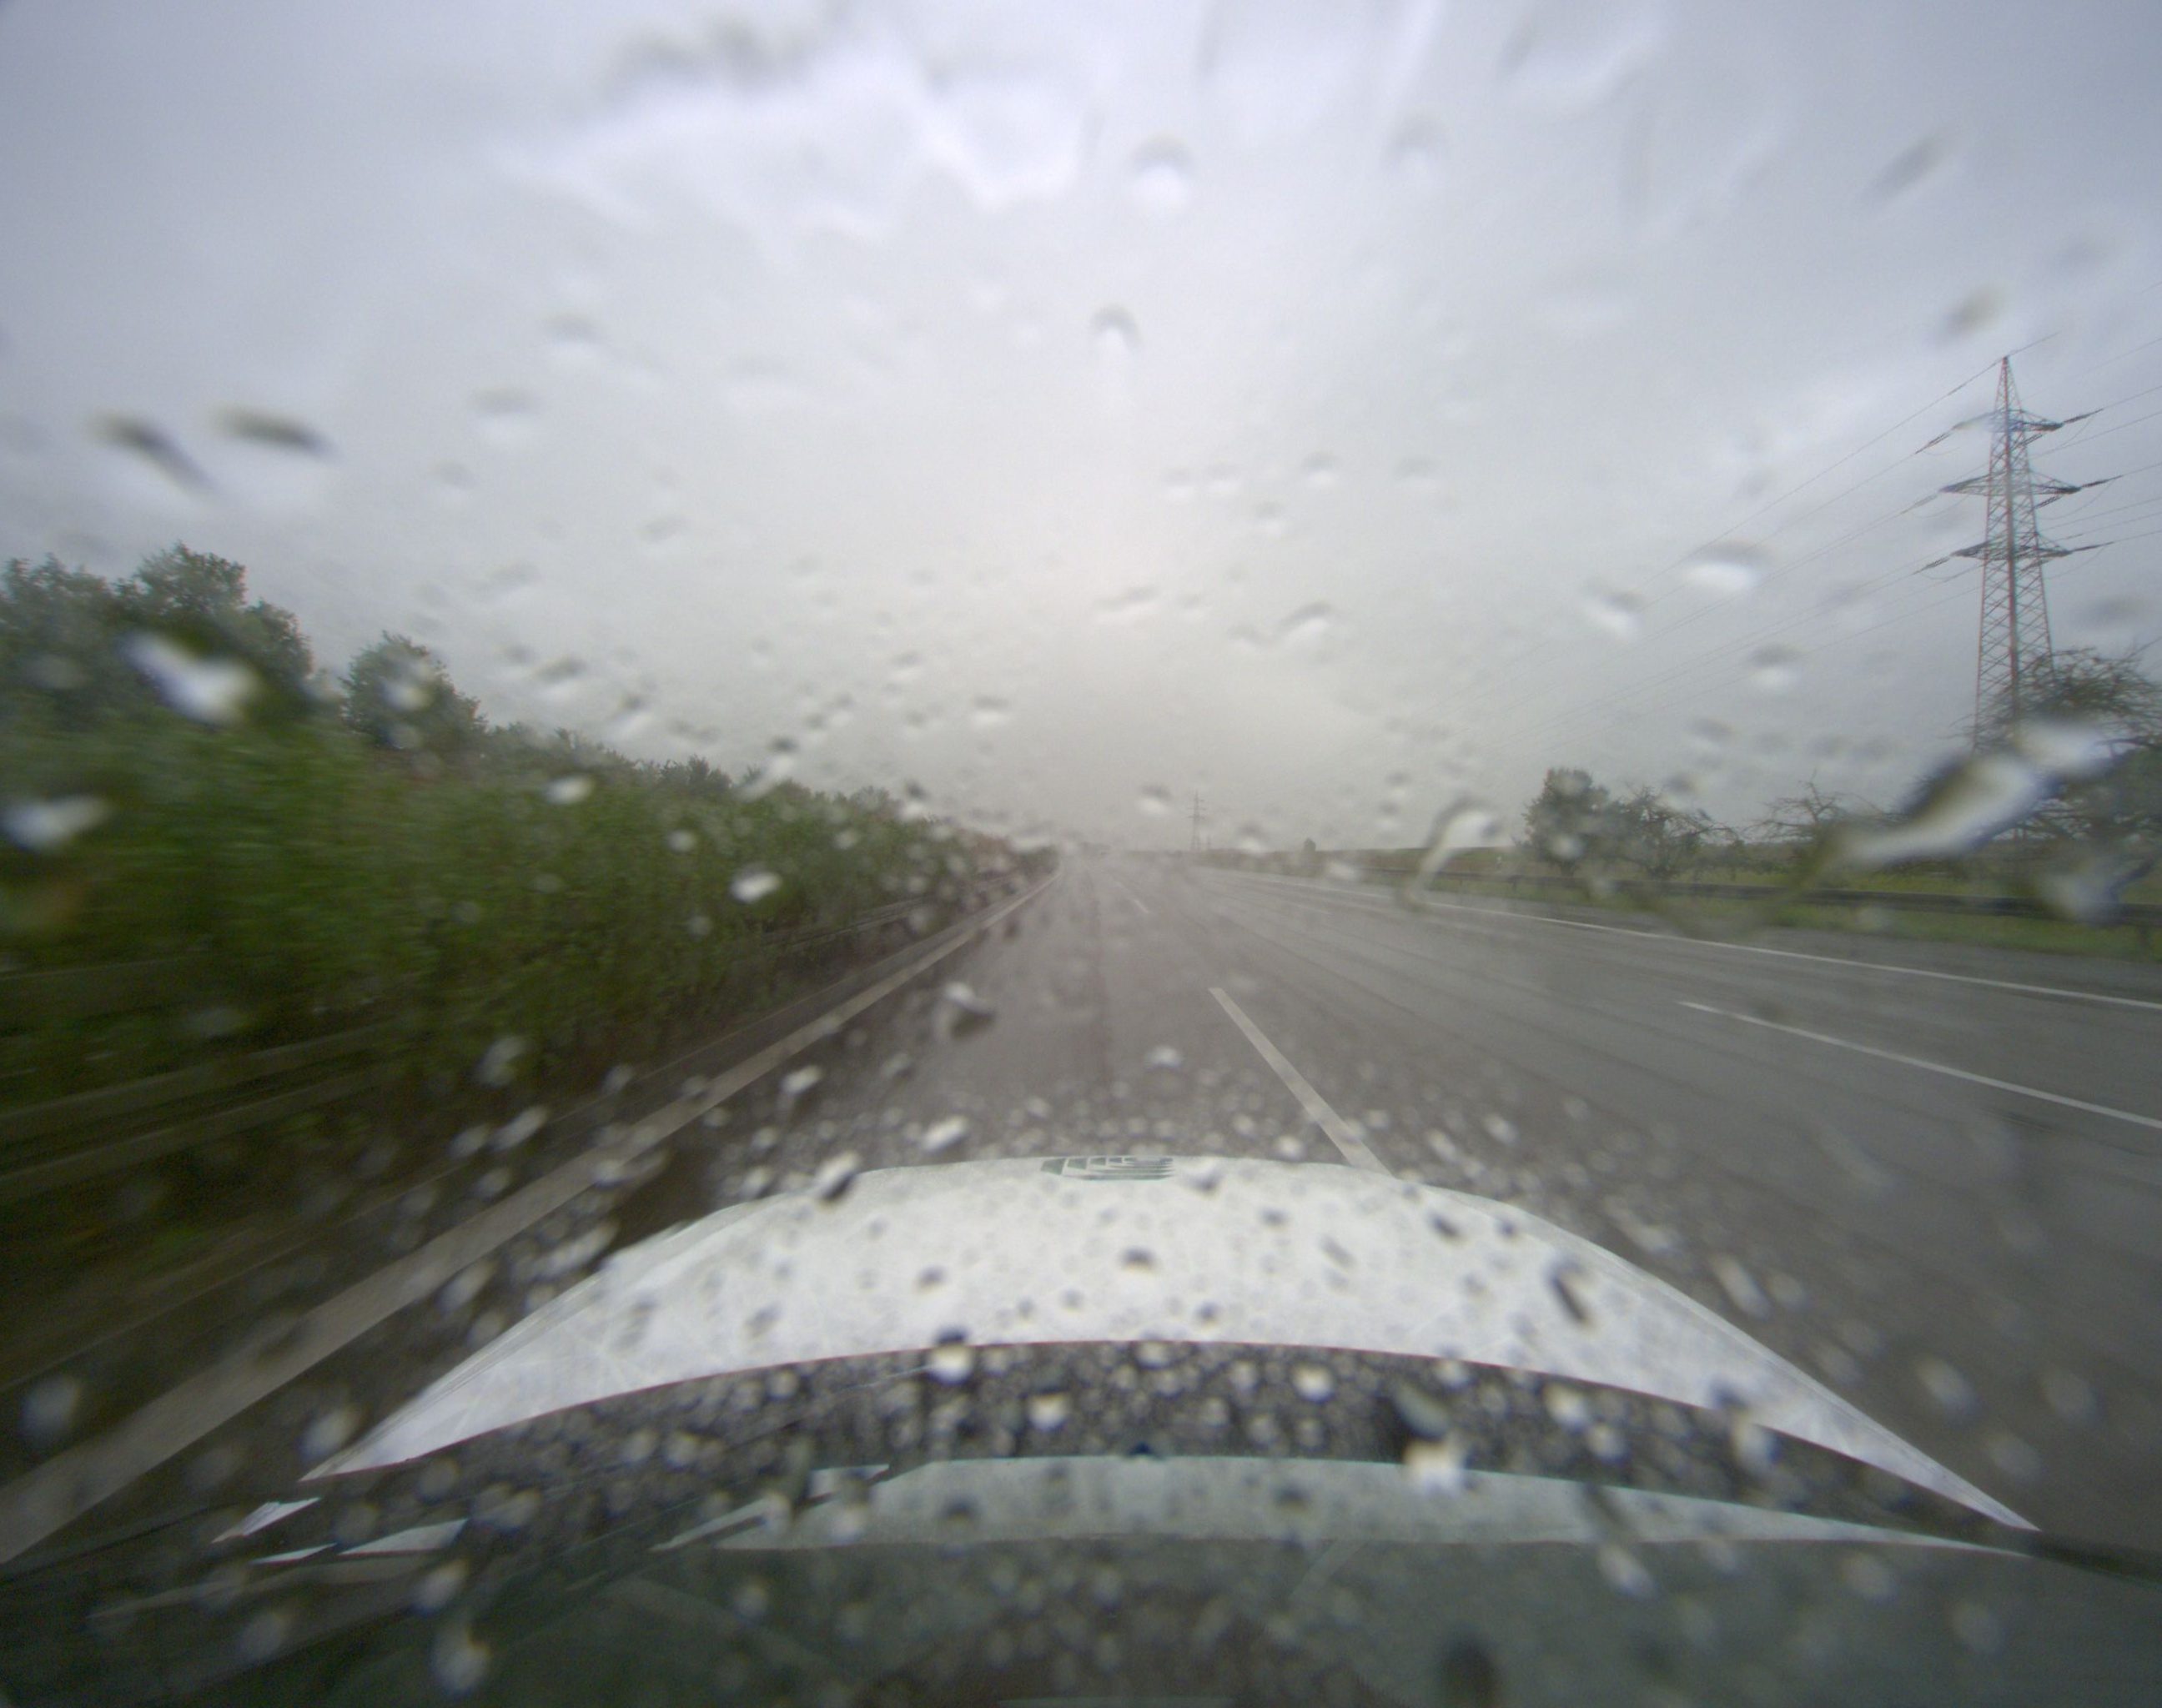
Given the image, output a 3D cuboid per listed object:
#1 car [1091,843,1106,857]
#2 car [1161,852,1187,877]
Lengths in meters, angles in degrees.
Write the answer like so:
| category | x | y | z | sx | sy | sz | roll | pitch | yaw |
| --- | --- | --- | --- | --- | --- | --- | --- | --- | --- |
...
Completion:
| category | x | y | z | sx | sy | sz | roll | pitch | yaw |
| --- | --- | --- | --- | --- | --- | --- | --- | --- | --- |
| car | 4.237 | -0.895 | 197.522 | 3.191 | 3.193 | 7.252 | 0 | 0 | -2 |
| car | 8.147 | 0.881 | 71.613 | 1.801 | 2.158 | 3.999 | 0 | 0 | 0 |
